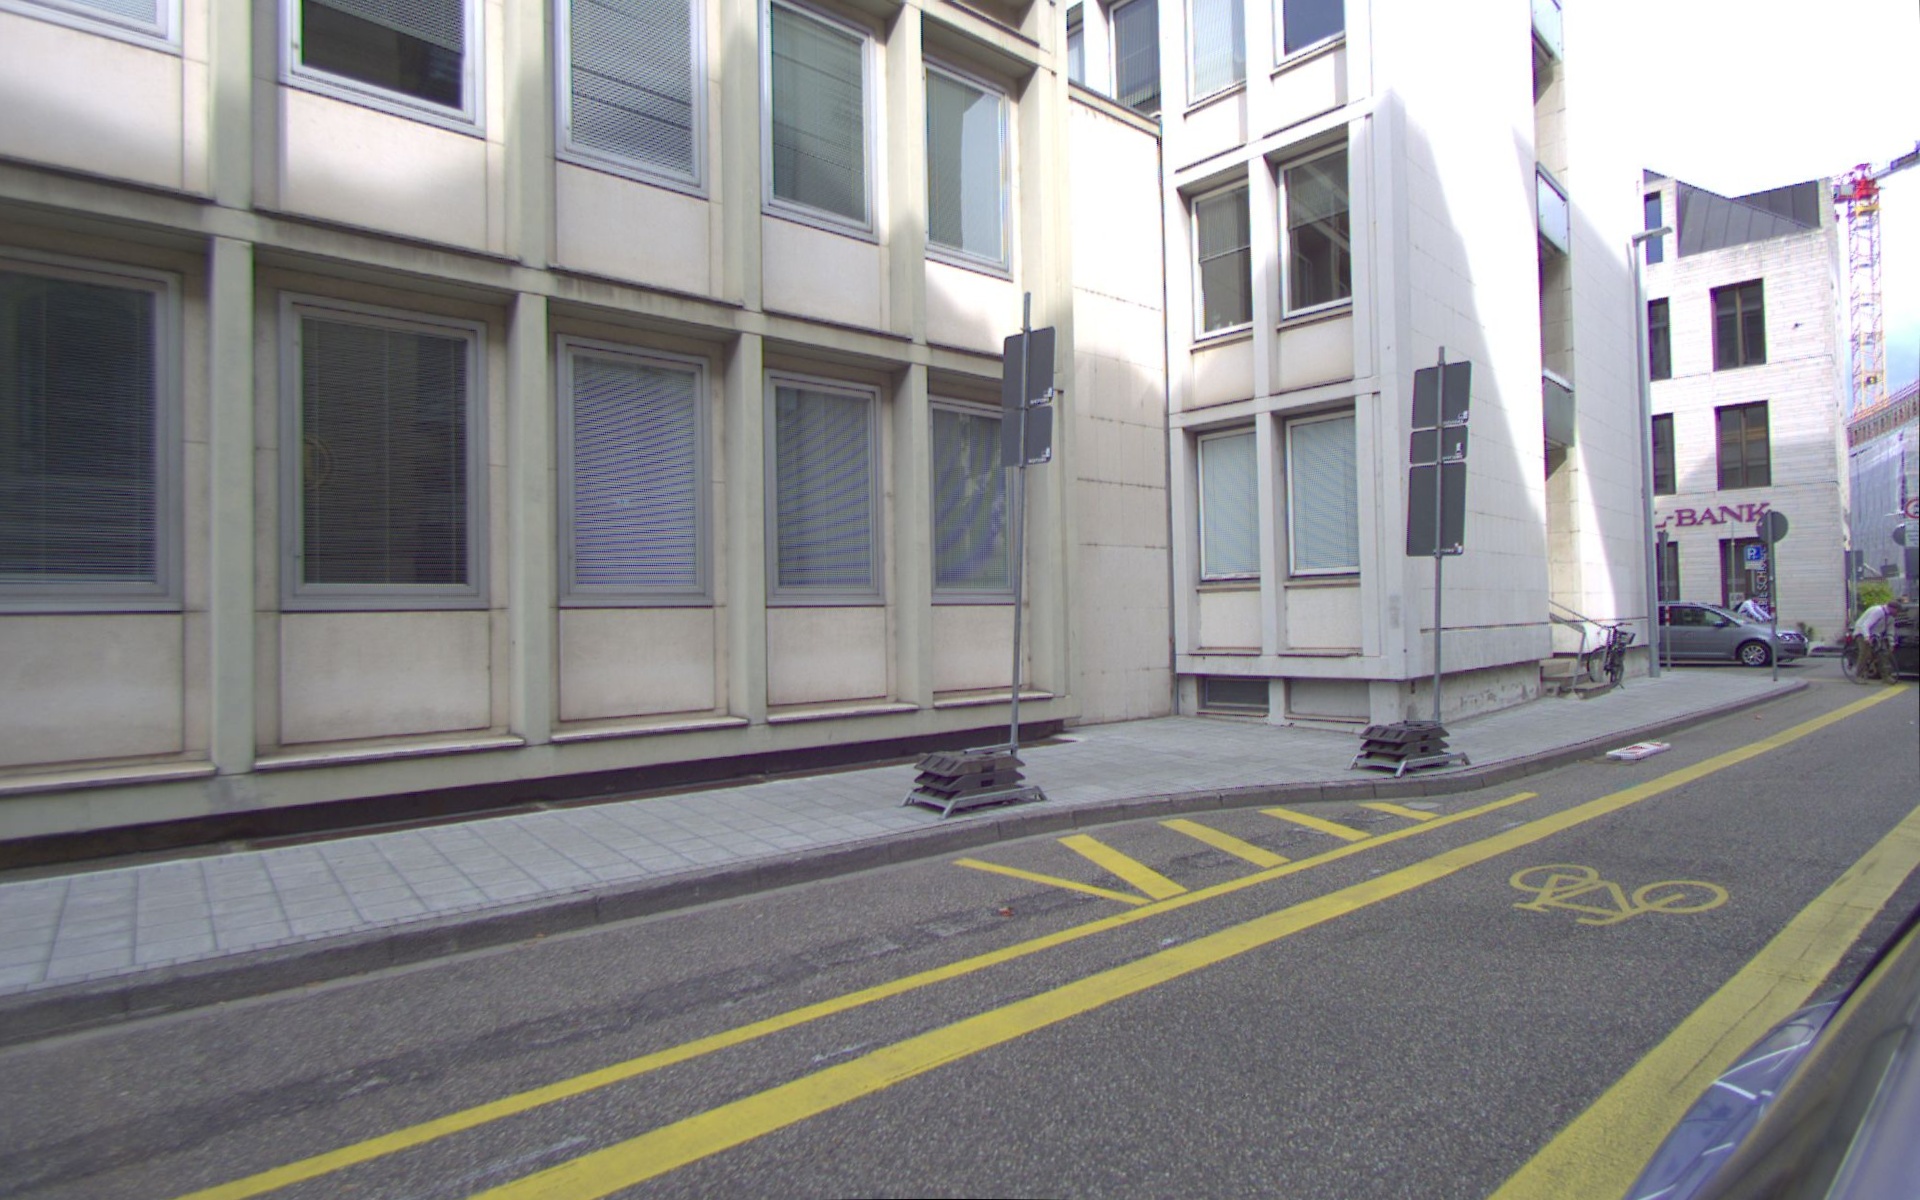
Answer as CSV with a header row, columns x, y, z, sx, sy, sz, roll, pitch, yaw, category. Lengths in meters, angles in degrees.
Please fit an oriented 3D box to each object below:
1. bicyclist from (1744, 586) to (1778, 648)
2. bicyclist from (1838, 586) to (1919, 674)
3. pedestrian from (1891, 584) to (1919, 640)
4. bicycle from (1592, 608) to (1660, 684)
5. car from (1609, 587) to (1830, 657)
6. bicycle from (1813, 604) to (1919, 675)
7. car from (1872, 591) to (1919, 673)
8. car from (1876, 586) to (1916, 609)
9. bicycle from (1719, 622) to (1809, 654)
x,y,z,sx,sy,sz,roll,pitch,yaw,category
21.155,0.441,26.724,0.652,1.616,0.585,-1,-1,-43,bicyclist
17.292,0.557,19.026,0.881,1.614,0.872,-1,-1,19,bicyclist
31.920,0.413,34.015,0.859,1.854,0.762,-2,-1,43,pedestrian
11.255,0.751,17.085,0.589,1.182,1.785,-2,0,45,bicycle
19.193,0.594,25.725,1.784,1.611,4.186,-1,-2,-42,car
17.331,0.701,19.119,0.860,1.210,2.846,-1,0,19,bicycle
18.542,0.570,17.990,1.690,1.510,3.753,-2,-1,11,car
64.982,-0.208,70.317,1.580,1.505,3.947,-2,0,37,car
21.190,0.989,26.684,0.652,0.807,1.765,-1,0,-43,bicycle
